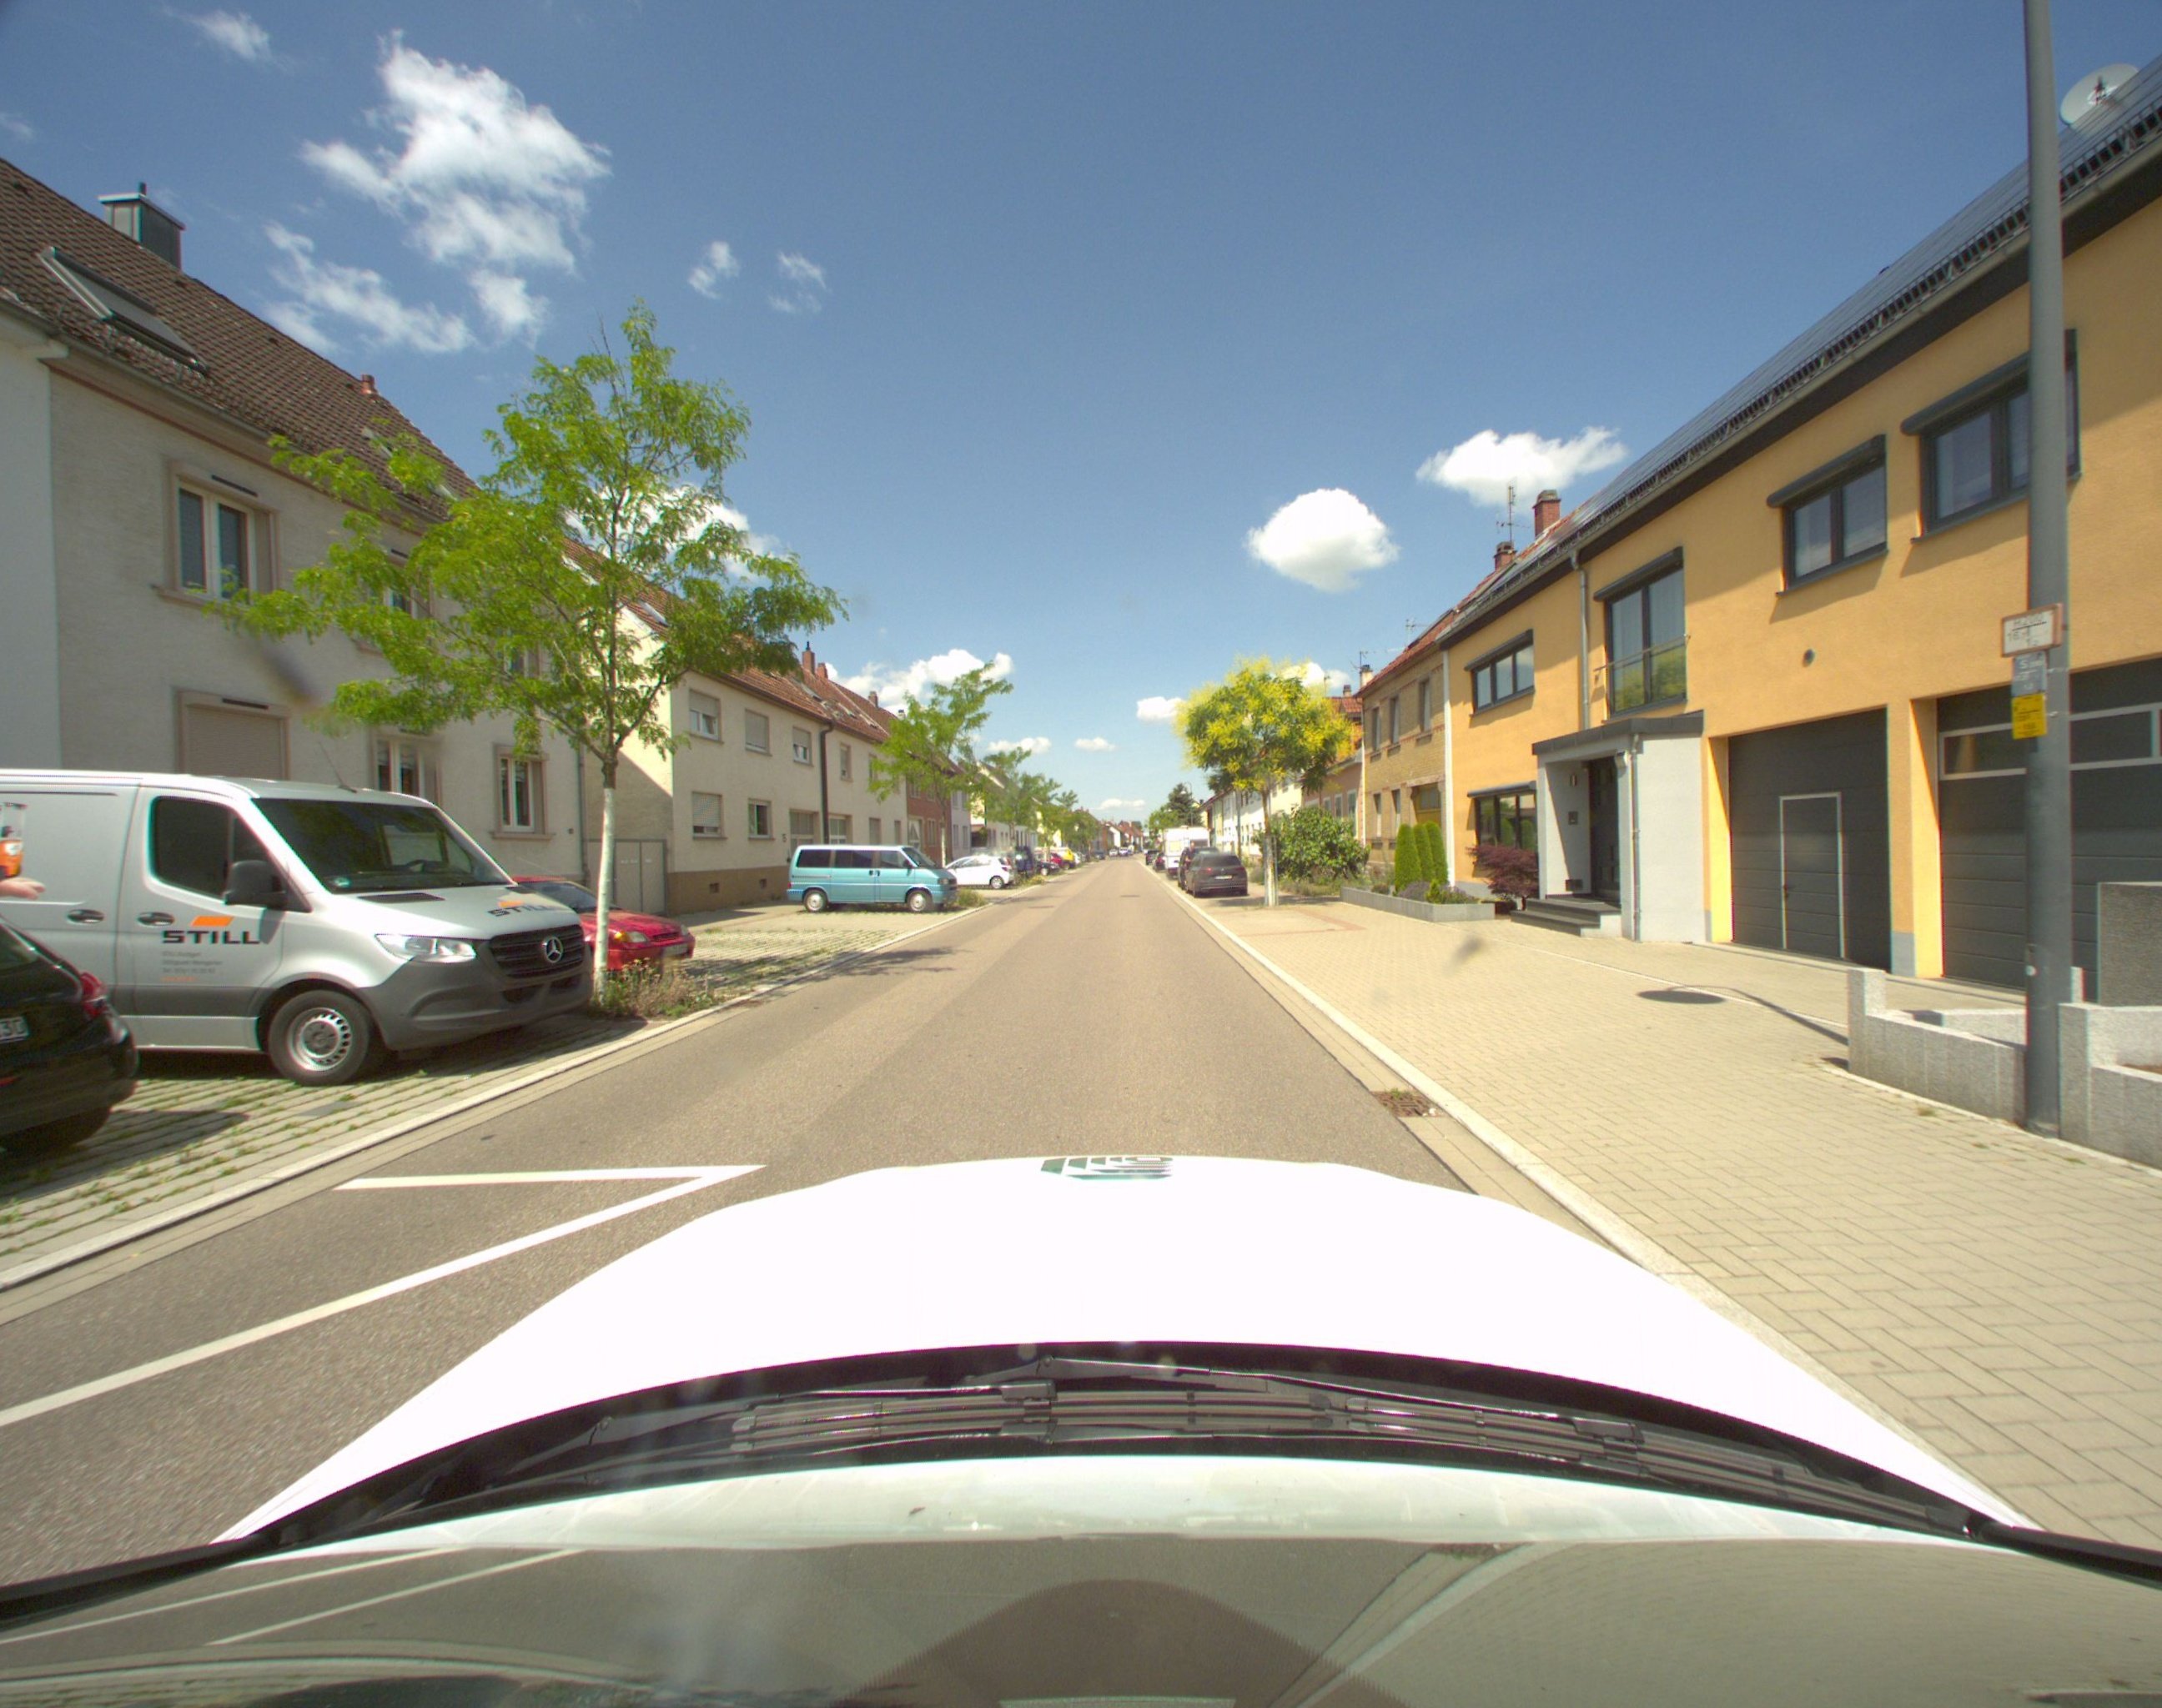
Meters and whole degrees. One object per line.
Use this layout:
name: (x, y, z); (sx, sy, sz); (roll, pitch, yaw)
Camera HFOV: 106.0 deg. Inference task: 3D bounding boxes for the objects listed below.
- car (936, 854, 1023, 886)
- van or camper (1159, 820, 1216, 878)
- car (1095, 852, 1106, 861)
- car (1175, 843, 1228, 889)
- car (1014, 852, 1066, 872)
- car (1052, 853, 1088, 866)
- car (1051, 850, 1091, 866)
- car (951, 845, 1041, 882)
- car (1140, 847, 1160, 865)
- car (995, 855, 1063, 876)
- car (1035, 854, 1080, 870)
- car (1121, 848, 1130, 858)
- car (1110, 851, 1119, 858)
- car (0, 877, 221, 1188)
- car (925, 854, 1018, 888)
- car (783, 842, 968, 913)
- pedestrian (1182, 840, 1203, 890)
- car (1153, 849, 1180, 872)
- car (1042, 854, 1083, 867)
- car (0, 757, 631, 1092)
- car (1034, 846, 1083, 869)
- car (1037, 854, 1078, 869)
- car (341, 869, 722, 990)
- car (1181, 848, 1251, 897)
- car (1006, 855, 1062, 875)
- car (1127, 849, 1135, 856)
car: (-4.889, 0.761, 39.593); (3.897, 1.488, 1.775); (0, 0, 5)
van or camper: (5.597, -0.267, 43.598); (2.463, 2.810, 5.795); (-2, 0, 3)
car: (3.417, 0.394, 144.706); (1.810, 1.433, 4.140); (3, 1, 1)
car: (4.807, 0.457, 33.086); (1.759, 1.705, 4.329); (-1, 0, 4)
car: (-3.502, 0.670, 69.737); (4.236, 1.611, 1.844); (0, 0, 2)
car: (-1.279, 0.660, 97.022); (4.170, 1.568, 1.773); (0, -1, -1)
car: (-1.211, 0.519, 99.807); (4.680, 1.923, 1.939); (0, -1, 3)
car: (-4.569, 0.512, 44.181); (4.591, 1.996, 1.955); (0, 0, 5)
car: (7.293, 0.185, 85.697); (1.855, 1.635, 4.453); (-3, 0, 6)
car: (-3.555, 0.758, 56.604); (4.505, 1.425, 1.797); (0, 0, 3)
car: (-2.101, 0.691, 75.027); (3.993, 1.459, 1.757); (0, 0, 3)
car: (9.642, -0.176, 177.163); (2.015, 1.950, 4.901); (-1, -1, 2)
car: (7.941, 0.146, 193.506); (1.840, 1.659, 4.007); (1, 0, 6)
car: (-7.103, 0.879, 3.873); (3.973, 1.446, 1.901); (-1, 0, 0)
car: (-4.948, 0.766, 37.042); (3.897, 1.488, 1.775); (0, 0, 5)
car: (-5.722, 0.648, 23.123); (4.656, 1.907, 2.002); (0, -1, 3)
pedestrian: (4.158, 0.401, 30.449); (0.713, 1.853, 0.578); (-1, 0, 3)
car: (6.095, 0.462, 58.335); (1.759, 1.529, 4.011); (-1, 0, 4)
car: (-2.030, 0.707, 90.164); (4.275, 1.468, 1.776); (0, -1, 4)
car: (-6.895, 0.474, 6.701); (5.148, 2.288, 2.158); (0, 0, 1)
car: (-2.135, 0.366, 77.620); (4.489, 2.177, 1.927); (0, 0, 3)
car: (-2.368, 0.753, 82.144); (4.065, 1.468, 1.750); (0, 0, -6)
car: (-6.931, 0.907, 10.540); (3.767, 1.385, 1.727); (0, -1, 3)
car: (4.460, 0.577, 27.458); (1.760, 1.488, 4.298); (-1, 0, 2)
car: (-3.472, 0.805, 60.593); (4.040, 1.478, 1.776); (0, 0, 0)
car: (12.492, -0.378, 203.599); (1.756, 1.523, 4.051); (-3, 0, 2)
